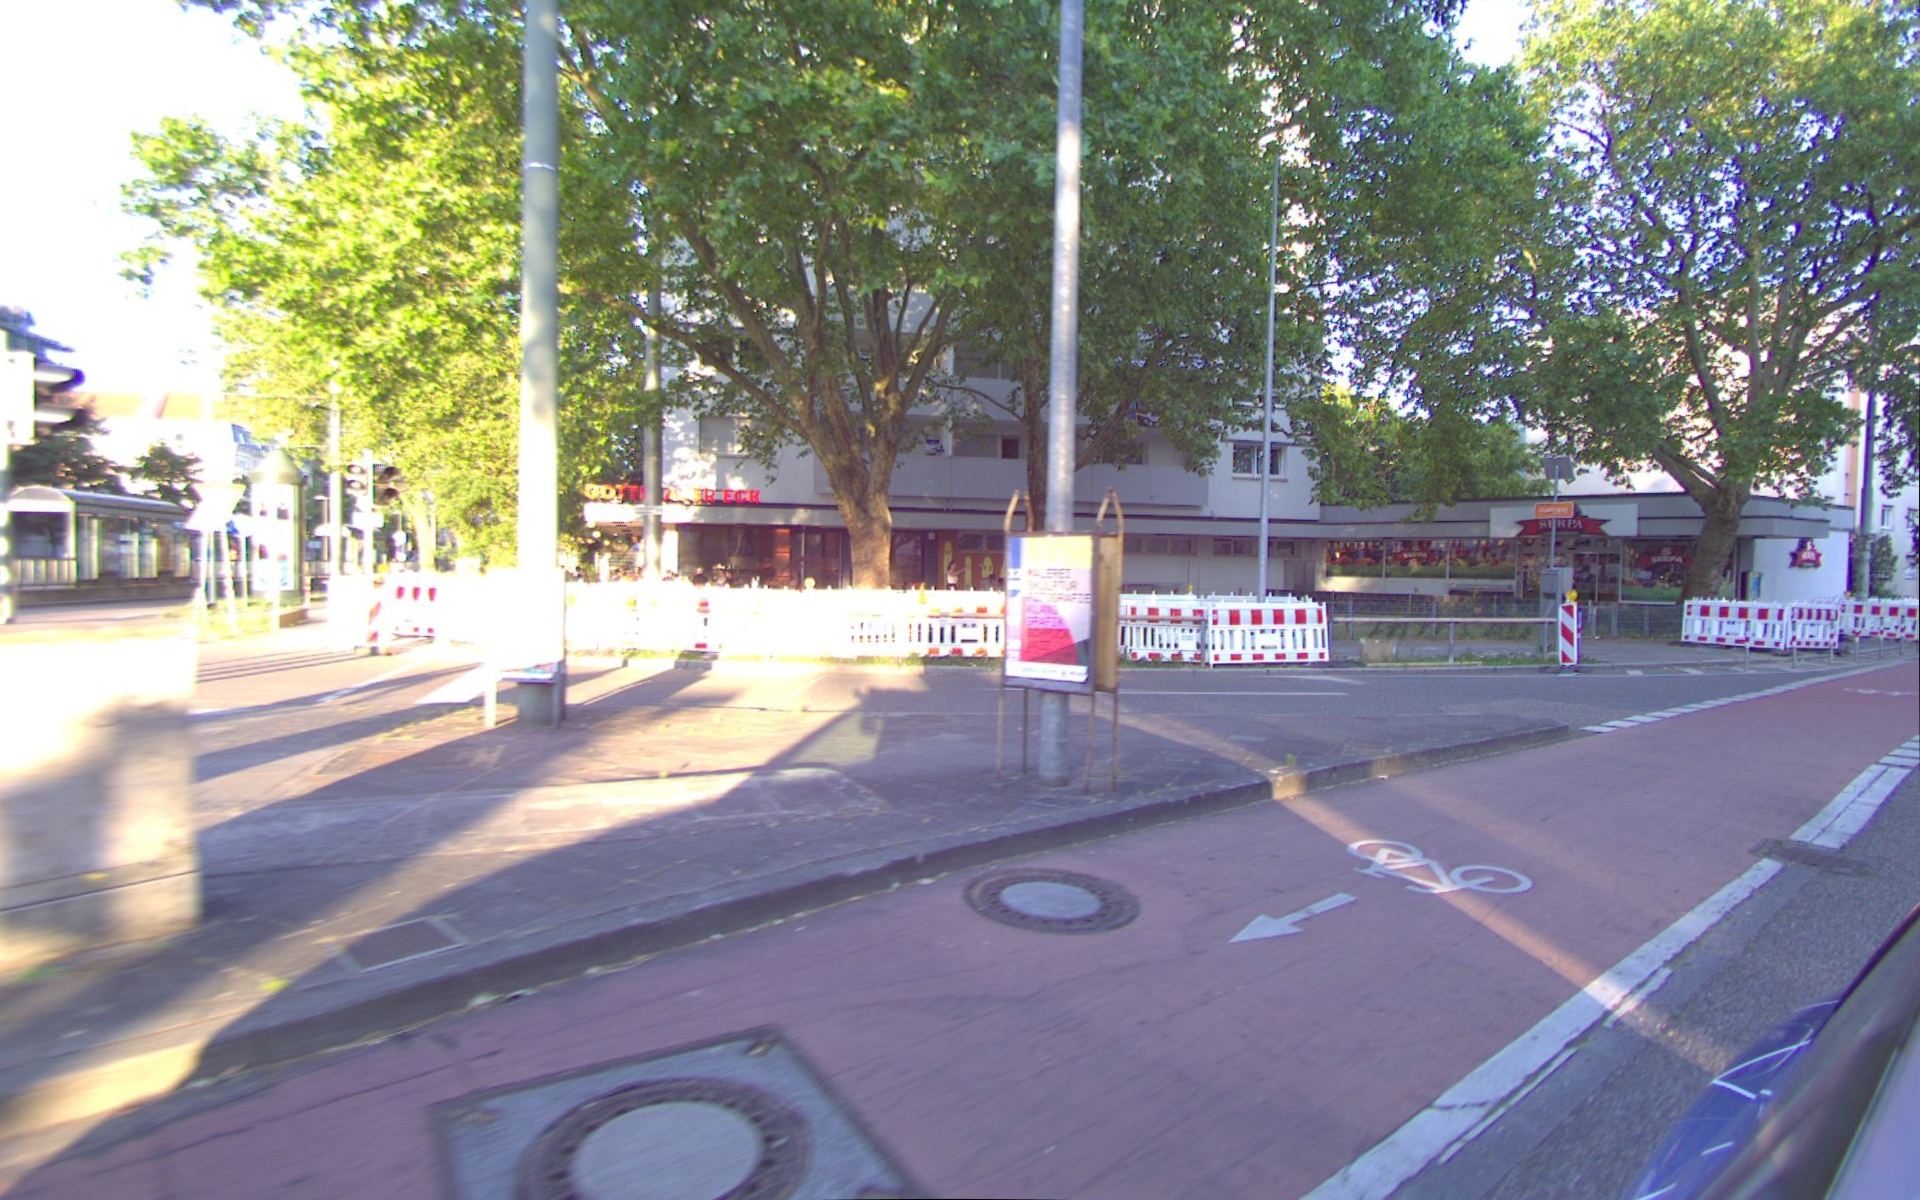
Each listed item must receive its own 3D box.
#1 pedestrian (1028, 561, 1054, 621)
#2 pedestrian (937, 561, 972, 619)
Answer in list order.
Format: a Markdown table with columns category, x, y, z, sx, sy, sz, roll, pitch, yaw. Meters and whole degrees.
| category | x | y | z | sx | sy | sz | roll | pitch | yaw |
| --- | --- | --- | --- | --- | --- | --- | --- | --- | --- |
| pedestrian | 2.207 | -0.242 | 27.523 | 0.631 | 1.608 | 0.744 | 0 | 1 | 11 |
| pedestrian | -0.158 | -0.302 | 28.693 | 0.639 | 1.608 | 0.735 | 0 | 2 | 44 |
